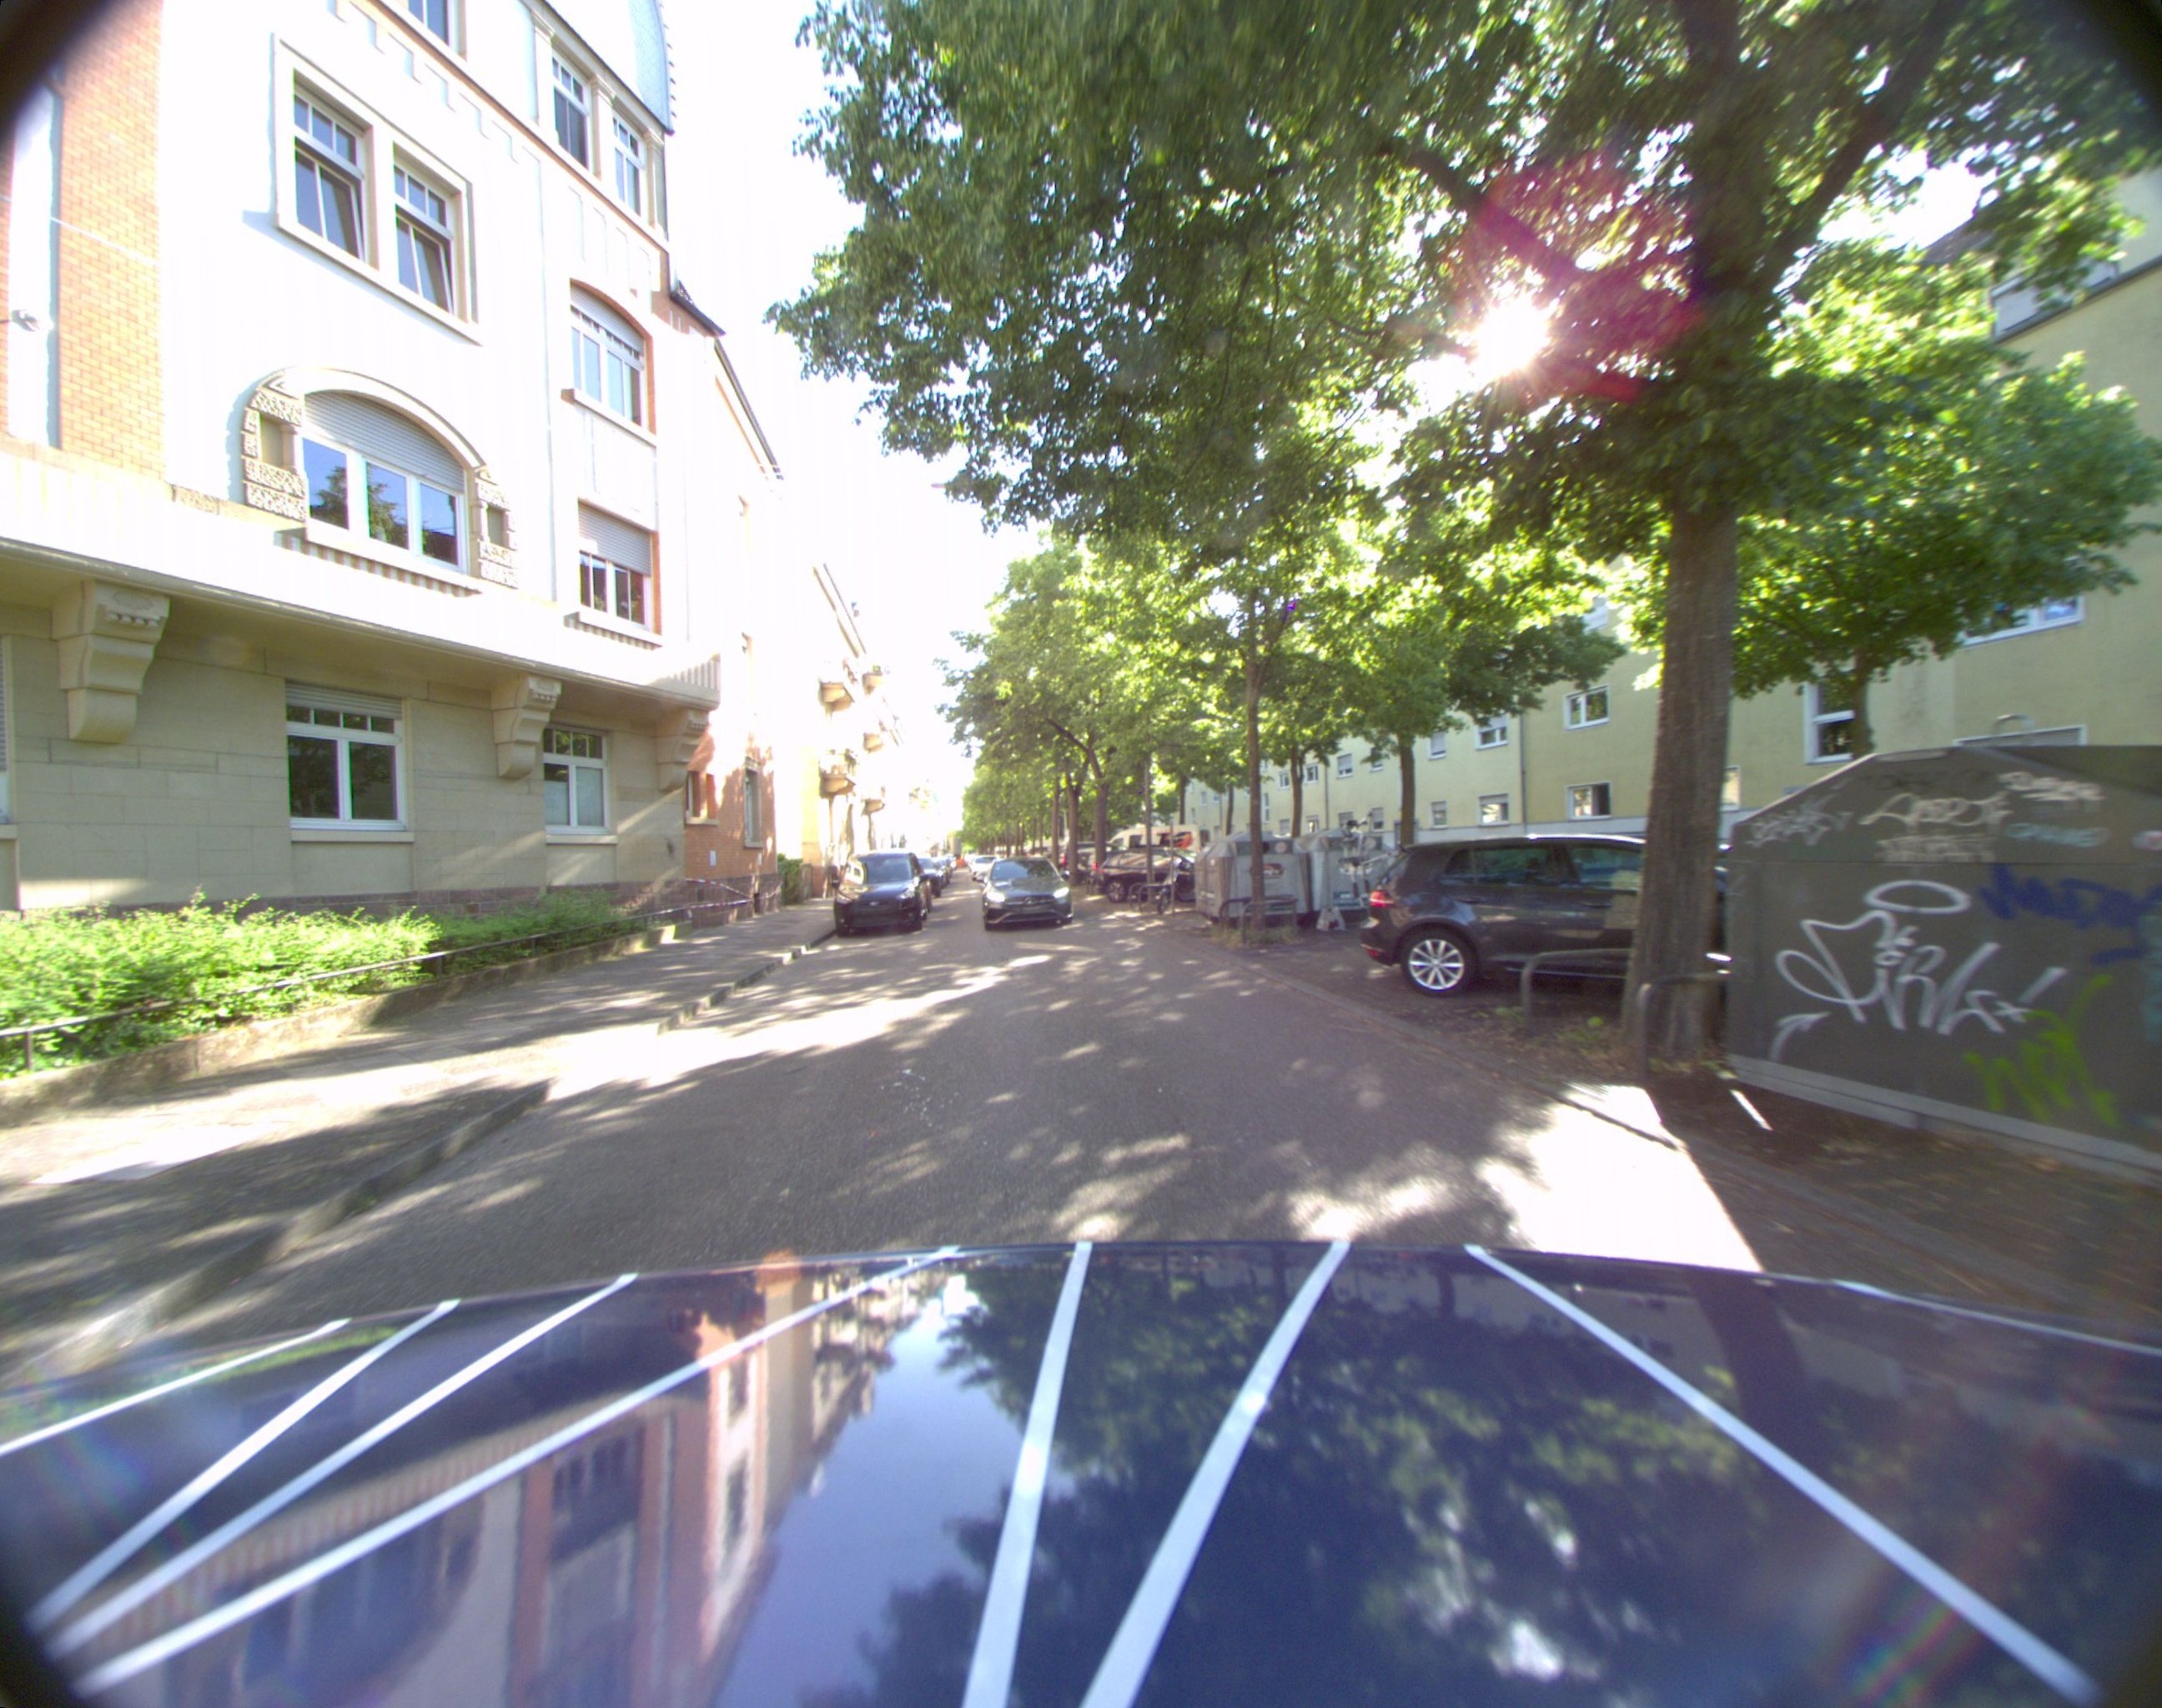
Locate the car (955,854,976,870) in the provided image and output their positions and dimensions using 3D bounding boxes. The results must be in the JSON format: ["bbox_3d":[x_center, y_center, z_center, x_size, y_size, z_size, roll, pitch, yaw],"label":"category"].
[{"bbox_3d":[-11.147,0.721,73.554,1.798,1.427,4.206,-3,0,-6],"label":"car"}]

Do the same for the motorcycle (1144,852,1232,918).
[{"bbox_3d":[2.368,0.654,16.746,1.802,1.340,0.727,-2,1,-26],"label":"motorcycle"}]

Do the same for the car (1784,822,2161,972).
[{"bbox_3d":[12.286,0.464,9.809,1.733,1.620,4.612,0,0,-10],"label":"car"}]

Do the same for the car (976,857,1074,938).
[{"bbox_3d":[-1.296,0.831,16.648,1.798,1.427,4.206,-3,0,-6],"label":"car"}]

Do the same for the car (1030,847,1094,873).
[{"bbox_3d":[-1.295,0.416,52.433,3.992,1.677,1.826,-1,1,16],"label":"car"}]

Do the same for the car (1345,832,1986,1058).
[{"bbox_3d":[4.615,0.618,6.711,3.989,1.464,1.763,-1,0,32],"label":"car"}]

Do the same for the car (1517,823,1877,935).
[{"bbox_3d":[9.094,0.351,11.465,3.997,1.464,1.759,-1,0,0],"label":"car"}]

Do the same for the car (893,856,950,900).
[{"bbox_3d":[-6.440,0.920,31.077,1.798,1.547,4.206,-4,0,-7],"label":"car"}]

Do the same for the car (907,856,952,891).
[{"bbox_3d":[-7.578,0.917,38.336,1.798,1.547,4.206,-4,0,-7],"label":"car"}]

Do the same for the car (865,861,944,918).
[{"bbox_3d":[-5.326,1.027,23.443,1.798,1.445,4.206,-4,0,-7],"label":"car"}]

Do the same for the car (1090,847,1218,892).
[{"bbox_3d":[2.511,0.527,26.406,3.989,1.444,1.827,-1,0,30],"label":"car"}]

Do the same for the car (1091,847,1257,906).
[{"bbox_3d":[2.462,0.574,20.348,3.989,1.433,1.827,-1,0,30],"label":"car"}]

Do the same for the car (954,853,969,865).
[{"bbox_3d":[-16.865,0.643,107.438,1.798,1.547,4.206,-4,0,-7],"label":"car"}]

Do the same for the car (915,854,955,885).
[{"bbox_3d":[-8.329,0.841,43.605,1.798,1.547,4.206,-4,0,-7],"label":"car"}]

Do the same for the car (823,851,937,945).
[{"bbox_3d":[-4.403,0.873,17.259,1.798,1.757,4.206,-4,0,-7],"label":"car"}]

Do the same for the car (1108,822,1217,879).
[{"bbox_3d":[3.781,-0.146,35.197,4.583,2.476,1.990,-1,1,25],"label":"car"}]

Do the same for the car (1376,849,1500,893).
[{"bbox_3d":[12.971,0.570,27.967,2.043,1.430,4.384,-1,0,-8],"label":"car"}]

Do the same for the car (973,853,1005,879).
[{"bbox_3d":[-5.673,0.719,47.036,1.798,1.427,4.206,-3,0,-6],"label":"car"}]

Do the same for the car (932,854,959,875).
[{"bbox_3d":[-11.197,0.826,63.033,1.798,1.547,4.206,-4,0,-7],"label":"car"}]

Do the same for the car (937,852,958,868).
[{"bbox_3d":[-13.632,0.595,77.907,1.798,1.547,4.206,-4,0,-7],"label":"car"}]

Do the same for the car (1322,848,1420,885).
[{"bbox_3d":[12.310,0.487,32.632,2.043,1.430,4.384,-1,0,-8],"label":"car"}]

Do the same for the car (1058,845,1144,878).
[{"bbox_3d":[1.029,0.404,39.283,3.989,1.624,1.827,-1,1,30],"label":"car"}]

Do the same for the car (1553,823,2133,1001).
[{"bbox_3d":[7.339,0.502,7.990,3.989,1.464,1.763,-1,0,31],"label":"car"}]

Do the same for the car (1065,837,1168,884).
[{"bbox_3d":[1.499,0.285,32.593,3.989,1.887,1.827,-1,1,30],"label":"car"}]
